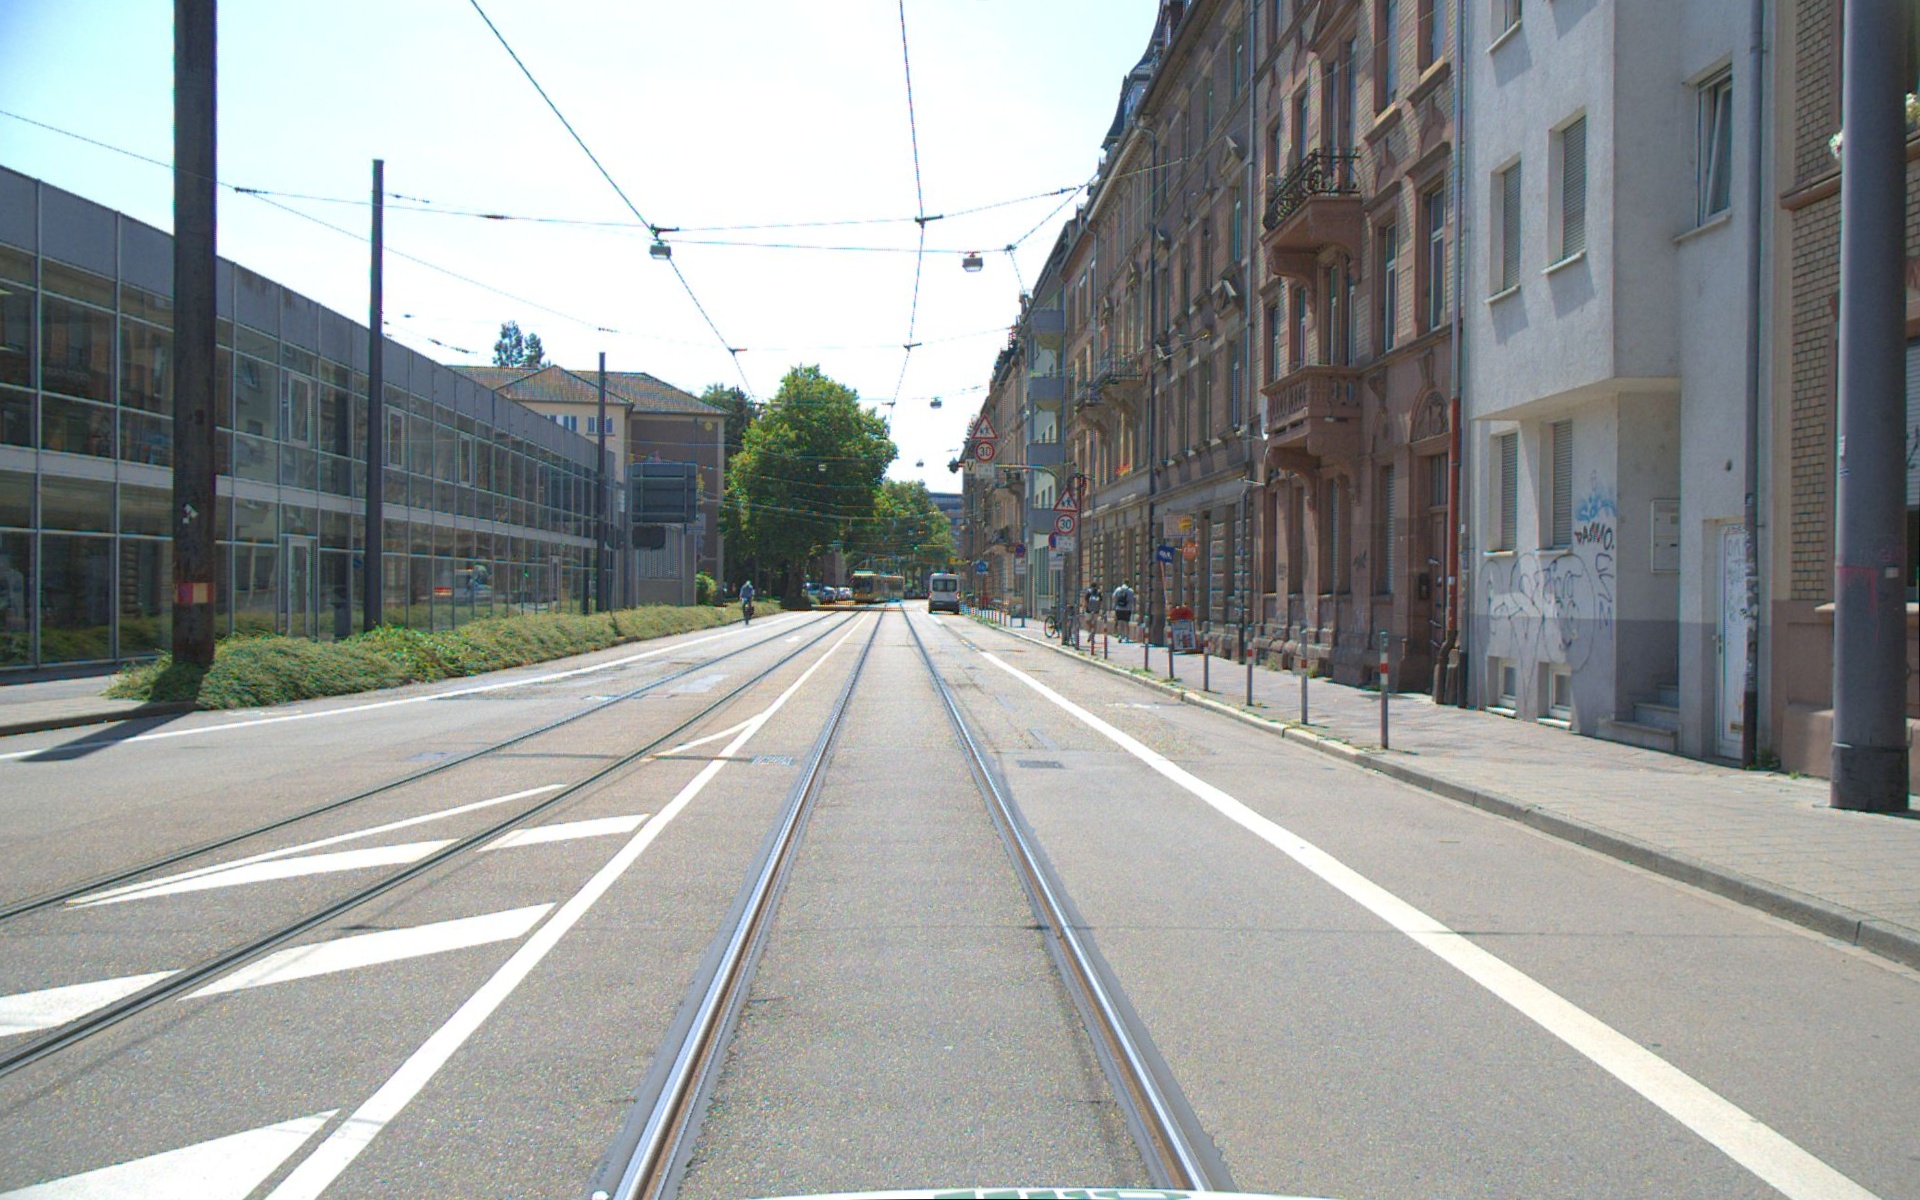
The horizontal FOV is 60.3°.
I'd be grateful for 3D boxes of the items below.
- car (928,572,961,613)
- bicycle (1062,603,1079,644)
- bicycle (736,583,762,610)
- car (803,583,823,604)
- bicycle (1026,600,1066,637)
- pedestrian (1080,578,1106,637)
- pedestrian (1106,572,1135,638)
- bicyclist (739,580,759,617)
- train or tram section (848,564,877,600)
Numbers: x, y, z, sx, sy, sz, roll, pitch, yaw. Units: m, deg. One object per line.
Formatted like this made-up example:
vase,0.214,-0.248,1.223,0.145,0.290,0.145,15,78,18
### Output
car,-1.029,-0.510,108.305,2.025,2.544,5.453,1,0,-1
bicycle,3.103,0.641,46.409,0.438,1.116,2.424,0,0,3
bicycle,-9.062,-0.152,71.072,0.683,1.164,2.496,0,0,3
car,-14.025,-0.591,157.866,1.765,1.956,3.996,1,0,-5
bicycle,2.834,0.588,54.255,0.489,1.150,2.241,0,0,26
pedestrian,3.937,0.215,48.920,0.705,1.750,0.643,0,0,-1
pedestrian,4.723,0.142,48.719,0.688,1.881,0.643,-3,0,-1
bicyclist,-9.074,-0.050,71.025,0.683,1.575,0.980,0,0,3
train or tram section,-10.318,-1.919,175.942,2.901,3.643,13.416,0,0,-3
